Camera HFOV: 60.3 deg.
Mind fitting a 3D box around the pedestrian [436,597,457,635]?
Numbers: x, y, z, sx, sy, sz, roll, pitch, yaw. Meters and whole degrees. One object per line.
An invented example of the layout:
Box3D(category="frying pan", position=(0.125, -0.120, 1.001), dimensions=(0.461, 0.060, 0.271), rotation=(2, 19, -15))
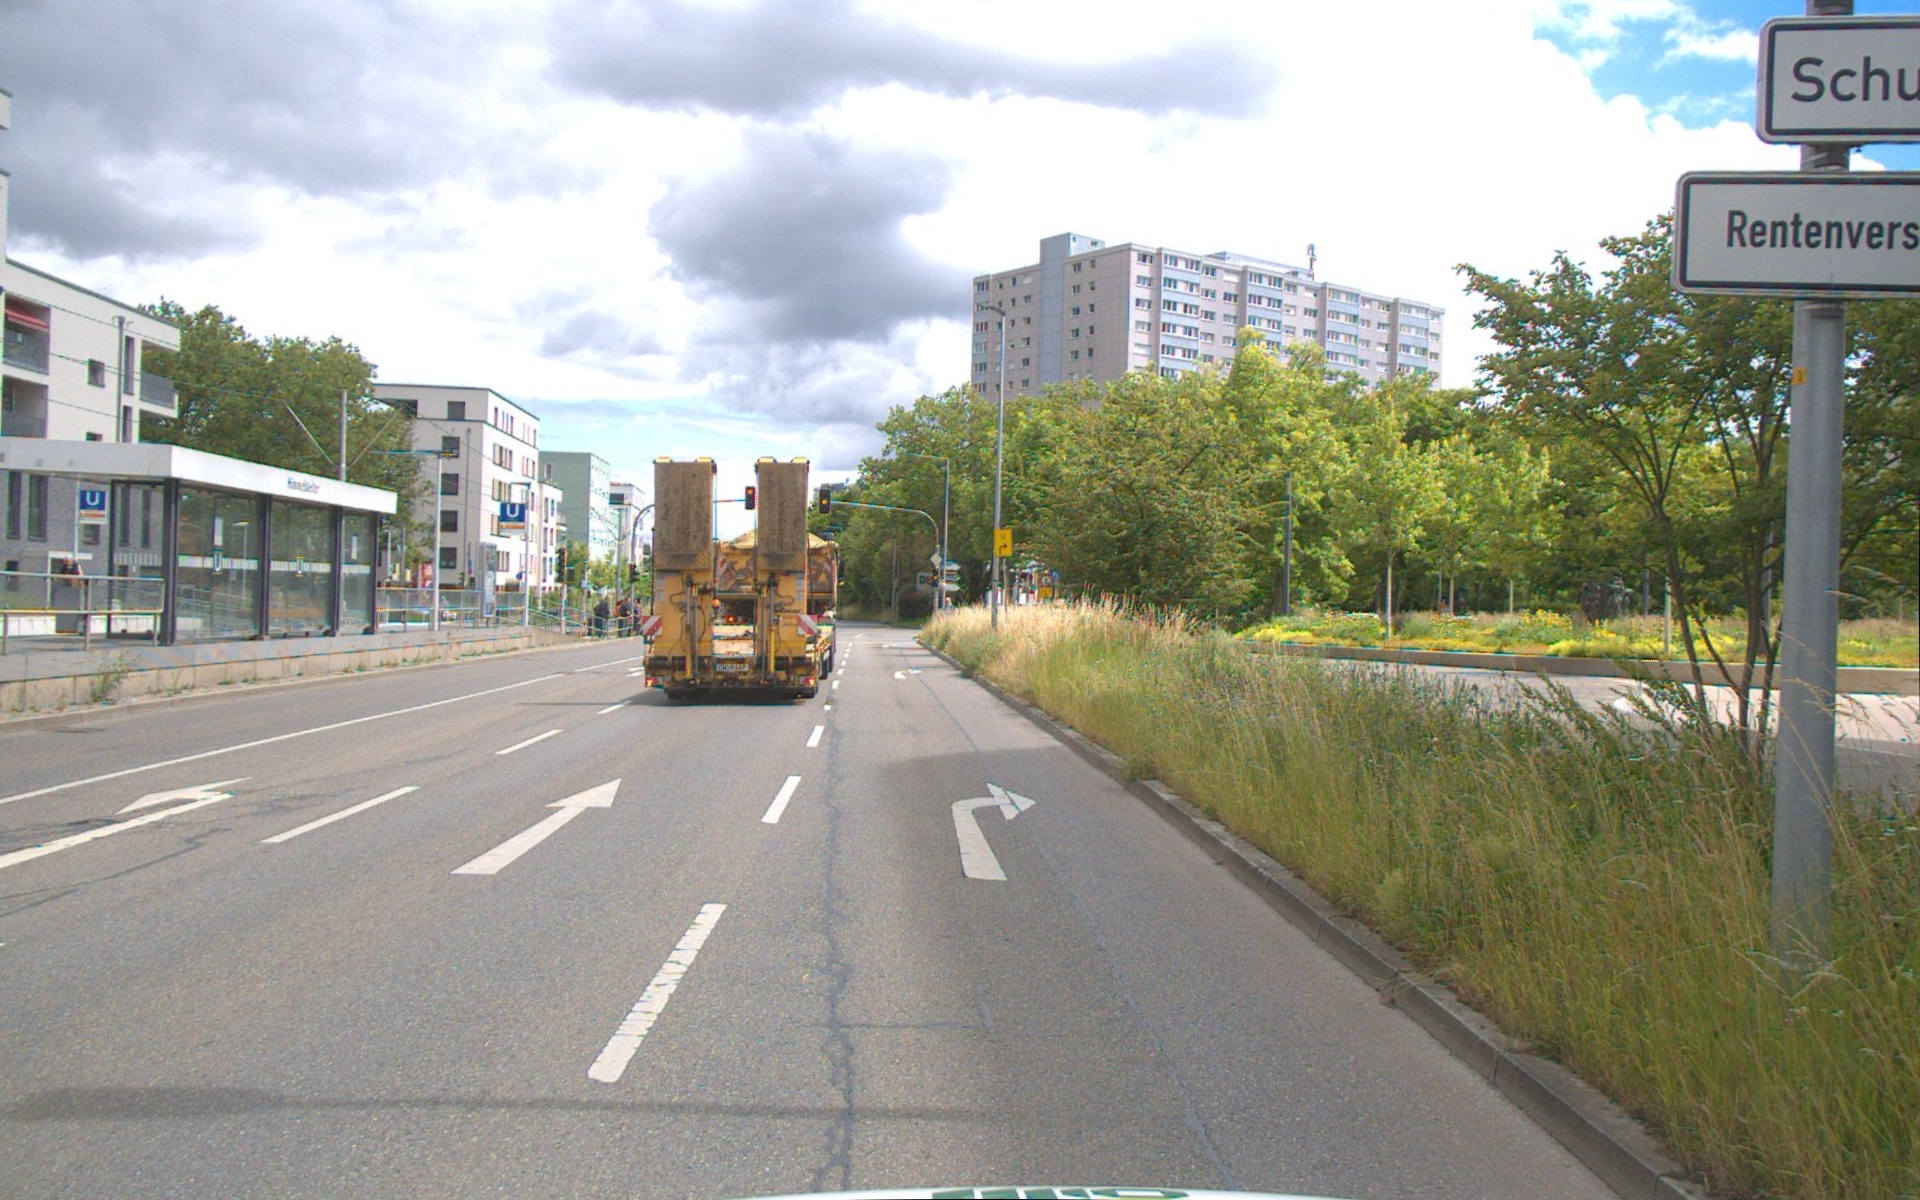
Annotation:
Box3D(category="pedestrian", position=(-29.484, 0.919, 94.980), dimensions=(0.897, 2.171, 0.934), rotation=(1, -1, -4))

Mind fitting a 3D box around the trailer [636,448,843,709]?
Box3D(category="trailer", position=(-3.494, -0.275, 28.903), dimensions=(2.675, 3.621, 11.245), rotation=(1, 0, -3))

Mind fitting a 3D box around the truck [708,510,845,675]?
Box3D(category="truck", position=(-4.123, -0.142, 38.693), dimensions=(2.699, 3.371, 8.345), rotation=(1, 0, -4))

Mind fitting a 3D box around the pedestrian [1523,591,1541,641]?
Box3D(category="pedestrian", position=(22.971, 0.632, 66.435), dimensions=(0.564, 1.985, 0.405), rotation=(1, -1, -3))

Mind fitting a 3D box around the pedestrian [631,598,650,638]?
Box3D(category="pedestrian", position=(-13.895, 0.784, 71.895), dimensions=(0.668, 1.699, 0.822), rotation=(1, -1, -4))

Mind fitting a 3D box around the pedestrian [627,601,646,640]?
Box3D(category="pedestrian", position=(-13.841, 0.875, 70.824), dimensions=(0.668, 1.631, 0.822), rotation=(1, -1, -4))

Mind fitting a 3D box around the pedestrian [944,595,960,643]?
Box3D(category="pedestrian", position=(-0.338, 0.825, 71.096), dimensions=(0.551, 2.049, 0.490), rotation=(1, -1, -13))

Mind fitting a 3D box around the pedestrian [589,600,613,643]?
Box3D(category="pedestrian", position=(-14.551, 0.872, 67.055), dimensions=(0.804, 1.698, 0.683), rotation=(1, -1, -3))

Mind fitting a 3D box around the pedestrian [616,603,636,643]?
Box3D(category="pedestrian", position=(-13.775, 0.945, 68.298), dimensions=(0.668, 1.631, 0.822), rotation=(1, -1, -4))

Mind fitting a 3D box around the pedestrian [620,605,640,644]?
Box3D(category="pedestrian", position=(-13.801, 1.022, 69.129), dimensions=(0.668, 1.631, 0.822), rotation=(1, -1, -4))

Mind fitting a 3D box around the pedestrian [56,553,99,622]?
Box3D(category="pedestrian", position=(-23.328, -0.318, 43.743), dimensions=(0.662, 1.797, 0.933), rotation=(1, -1, -6))
